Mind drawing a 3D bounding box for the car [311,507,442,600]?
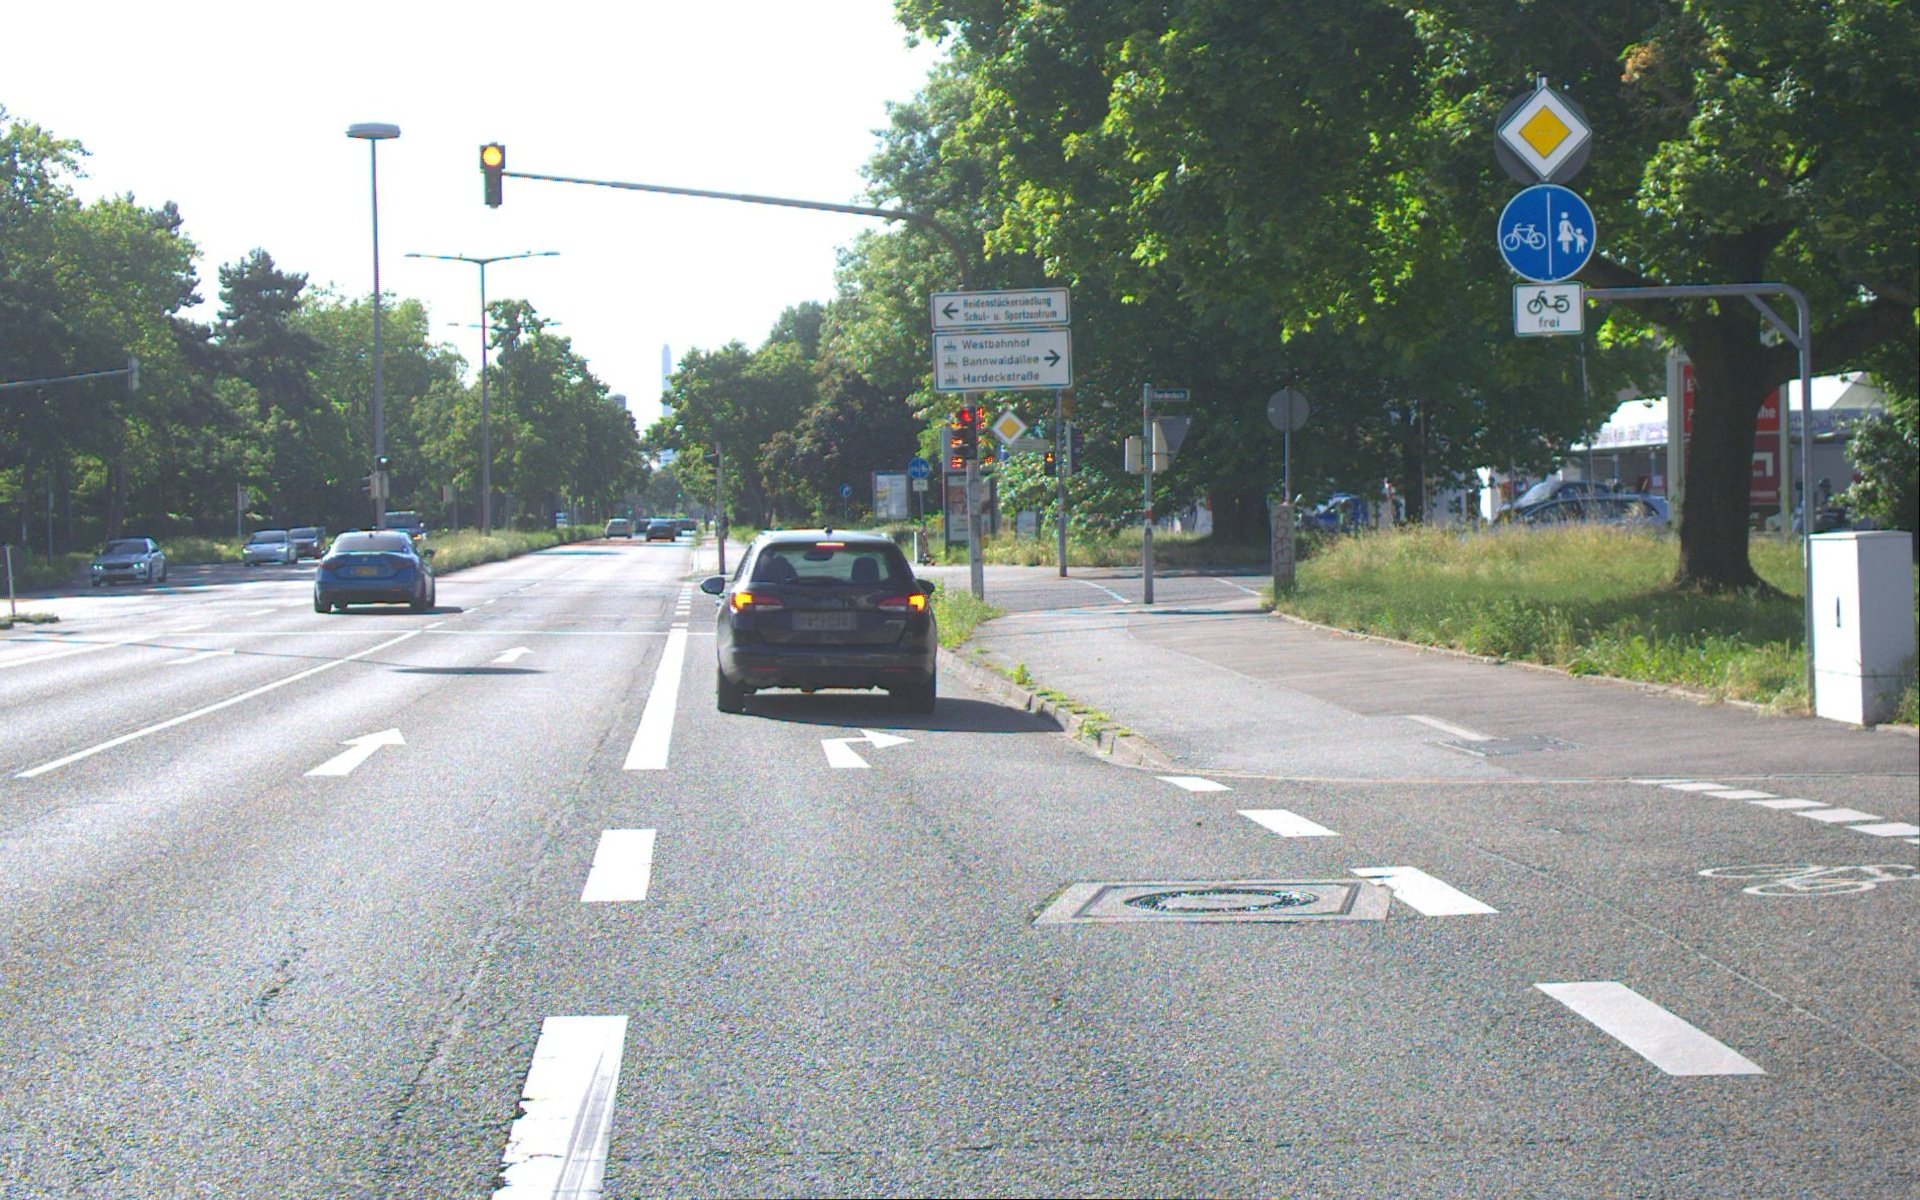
[{"bbox_3d":[-10.307,-0.829,60.937,1.888,1.546,4.001,-1,1,-4],"label":"car"}]

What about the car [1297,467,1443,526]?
[{"bbox_3d":[11.567,-2.909,96.903,3.836,1.558,1.805,0,1,-36],"label":"car"}]

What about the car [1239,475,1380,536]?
[{"bbox_3d":[10.093,-2.728,99.183,3.711,1.679,1.704,0,1,-30],"label":"car"}]

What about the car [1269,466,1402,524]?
[{"bbox_3d":[11.461,-3.205,105.067,3.711,1.679,1.705,1,1,-6],"label":"car"}]

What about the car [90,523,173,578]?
[{"bbox_3d":[-26.230,-1.591,108.947,1.864,1.678,4.261,1,1,-4],"label":"car"}]

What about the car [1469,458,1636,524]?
[{"bbox_3d":[15.202,-2.790,88.189,3.835,1.606,1.806,1,1,-23],"label":"car"}]

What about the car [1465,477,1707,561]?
[{"bbox_3d":[12.461,-1.607,68.655,4.619,1.568,1.999,-1,1,8],"label":"car"}]

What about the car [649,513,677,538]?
[{"bbox_3d":[-19.026,-4.760,220.462,1.732,1.579,3.841,1,1,-4],"label":"car"}]

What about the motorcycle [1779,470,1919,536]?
[{"bbox_3d":[17.612,-1.920,67.947,2.726,1.266,0.834,1,1,12],"label":"motorcycle"}]

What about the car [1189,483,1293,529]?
[{"bbox_3d":[10.781,-3.598,132.141,3.711,1.679,1.705,1,1,-6],"label":"car"}]

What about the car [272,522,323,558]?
[{"bbox_3d":[-31.225,-2.824,162.191,1.864,1.678,4.001,1,1,-4],"label":"car"}]

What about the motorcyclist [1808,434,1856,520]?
[{"bbox_3d":[17.252,-2.429,67.994,0.860,1.674,0.834,1,1,12],"label":"motorcyclist"}]

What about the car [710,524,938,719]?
[{"bbox_3d":[-1.195,0.130,28.673,1.755,1.504,3.809,-1,1,-4],"label":"car"}]

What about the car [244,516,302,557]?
[{"bbox_3d":[-28.731,-2.648,143.855,1.864,1.678,4.001,1,1,-4],"label":"car"}]

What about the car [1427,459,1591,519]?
[{"bbox_3d":[14.393,-2.892,90.134,3.835,1.477,1.806,1,1,-23],"label":"car"}]
